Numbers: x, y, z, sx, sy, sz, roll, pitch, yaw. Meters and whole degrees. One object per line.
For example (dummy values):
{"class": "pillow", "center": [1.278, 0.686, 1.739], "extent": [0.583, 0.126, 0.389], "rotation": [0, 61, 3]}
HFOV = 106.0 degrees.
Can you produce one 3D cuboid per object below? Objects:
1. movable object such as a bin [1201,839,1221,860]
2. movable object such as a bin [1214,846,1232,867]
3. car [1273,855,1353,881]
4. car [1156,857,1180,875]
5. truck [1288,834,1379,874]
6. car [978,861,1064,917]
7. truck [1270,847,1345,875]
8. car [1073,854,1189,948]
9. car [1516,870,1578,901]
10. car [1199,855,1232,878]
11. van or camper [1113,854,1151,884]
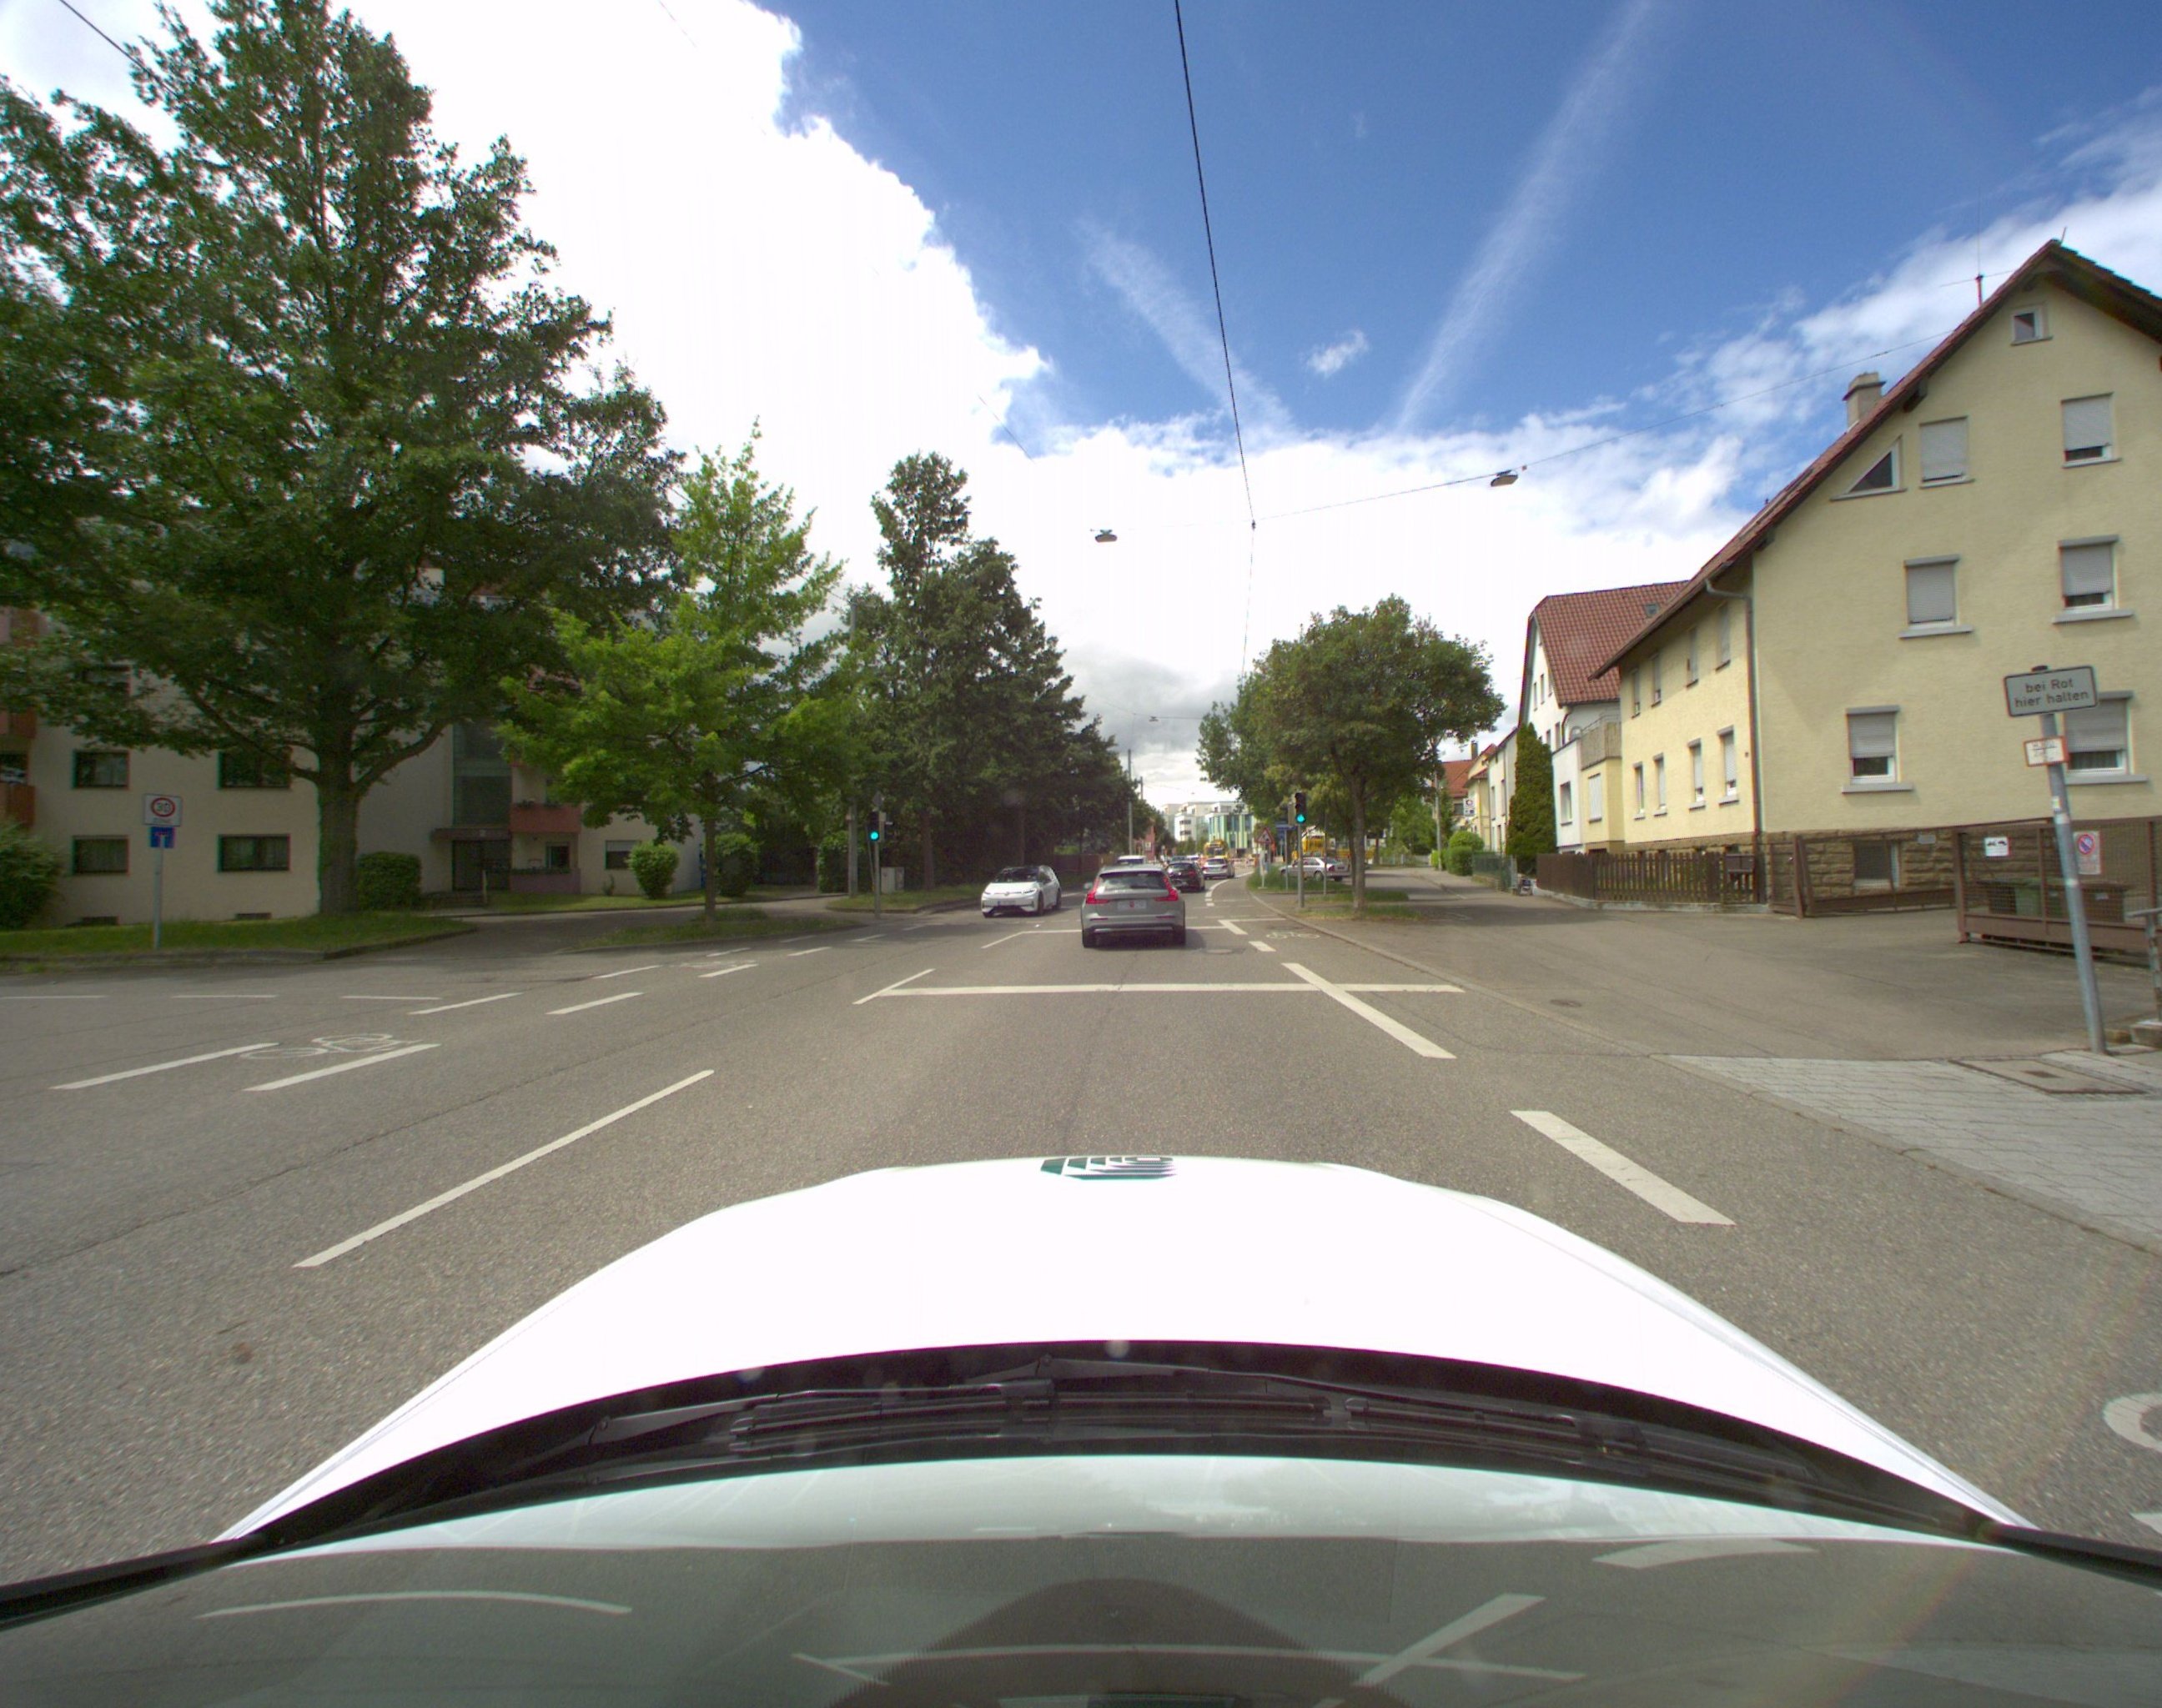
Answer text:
{"class": "movable object such as a bin", "center": [20.251, -0.669, 127.038], "extent": [2.300, 2.990, 6.433], "rotation": [-2, 0, 4]}
{"class": "movable object such as a bin", "center": [18.108, 0.324, 103.790], "extent": [2.021, 2.643, 5.958], "rotation": [-2, 0, 12]}
{"class": "car", "center": [13.840, 0.798, 48.883], "extent": [1.774, 1.452, 4.642], "rotation": [0, 0, -32]}
{"class": "car", "center": [8.820, 1.231, 82.530], "extent": [1.867, 1.687, 4.261], "rotation": [-3, -1, 12]}
{"class": "truck", "center": [20.072, 0.054, 65.122], "extent": [2.781, 3.008, 6.636], "rotation": [2, -2, -34]}
{"class": "car", "center": [-1.813, 1.075, 25.995], "extent": [1.888, 1.580, 4.008], "rotation": [-2, -2, 7]}
{"class": "truck", "center": [17.565, 0.561, 63.480], "extent": [2.008, 2.014, 5.617], "rotation": [2, -2, -34]}
{"class": "car", "center": [1.030, 0.824, 15.637], "extent": [1.918, 1.540, 4.006], "rotation": [-1, -1, 5]}
{"class": "car", "center": [18.059, 1.205, 31.674], "extent": [1.450, 1.125, 3.891], "rotation": [1, -1, 20]}
{"class": "car", "center": [9.187, 0.870, 55.268], "extent": [2.089, 1.510, 4.012], "rotation": [1, -1, 11]}
{"class": "van or camper", "center": [3.237, 0.932, 51.357], "extent": [1.849, 1.776, 4.393], "rotation": [-1, 0, 10]}
